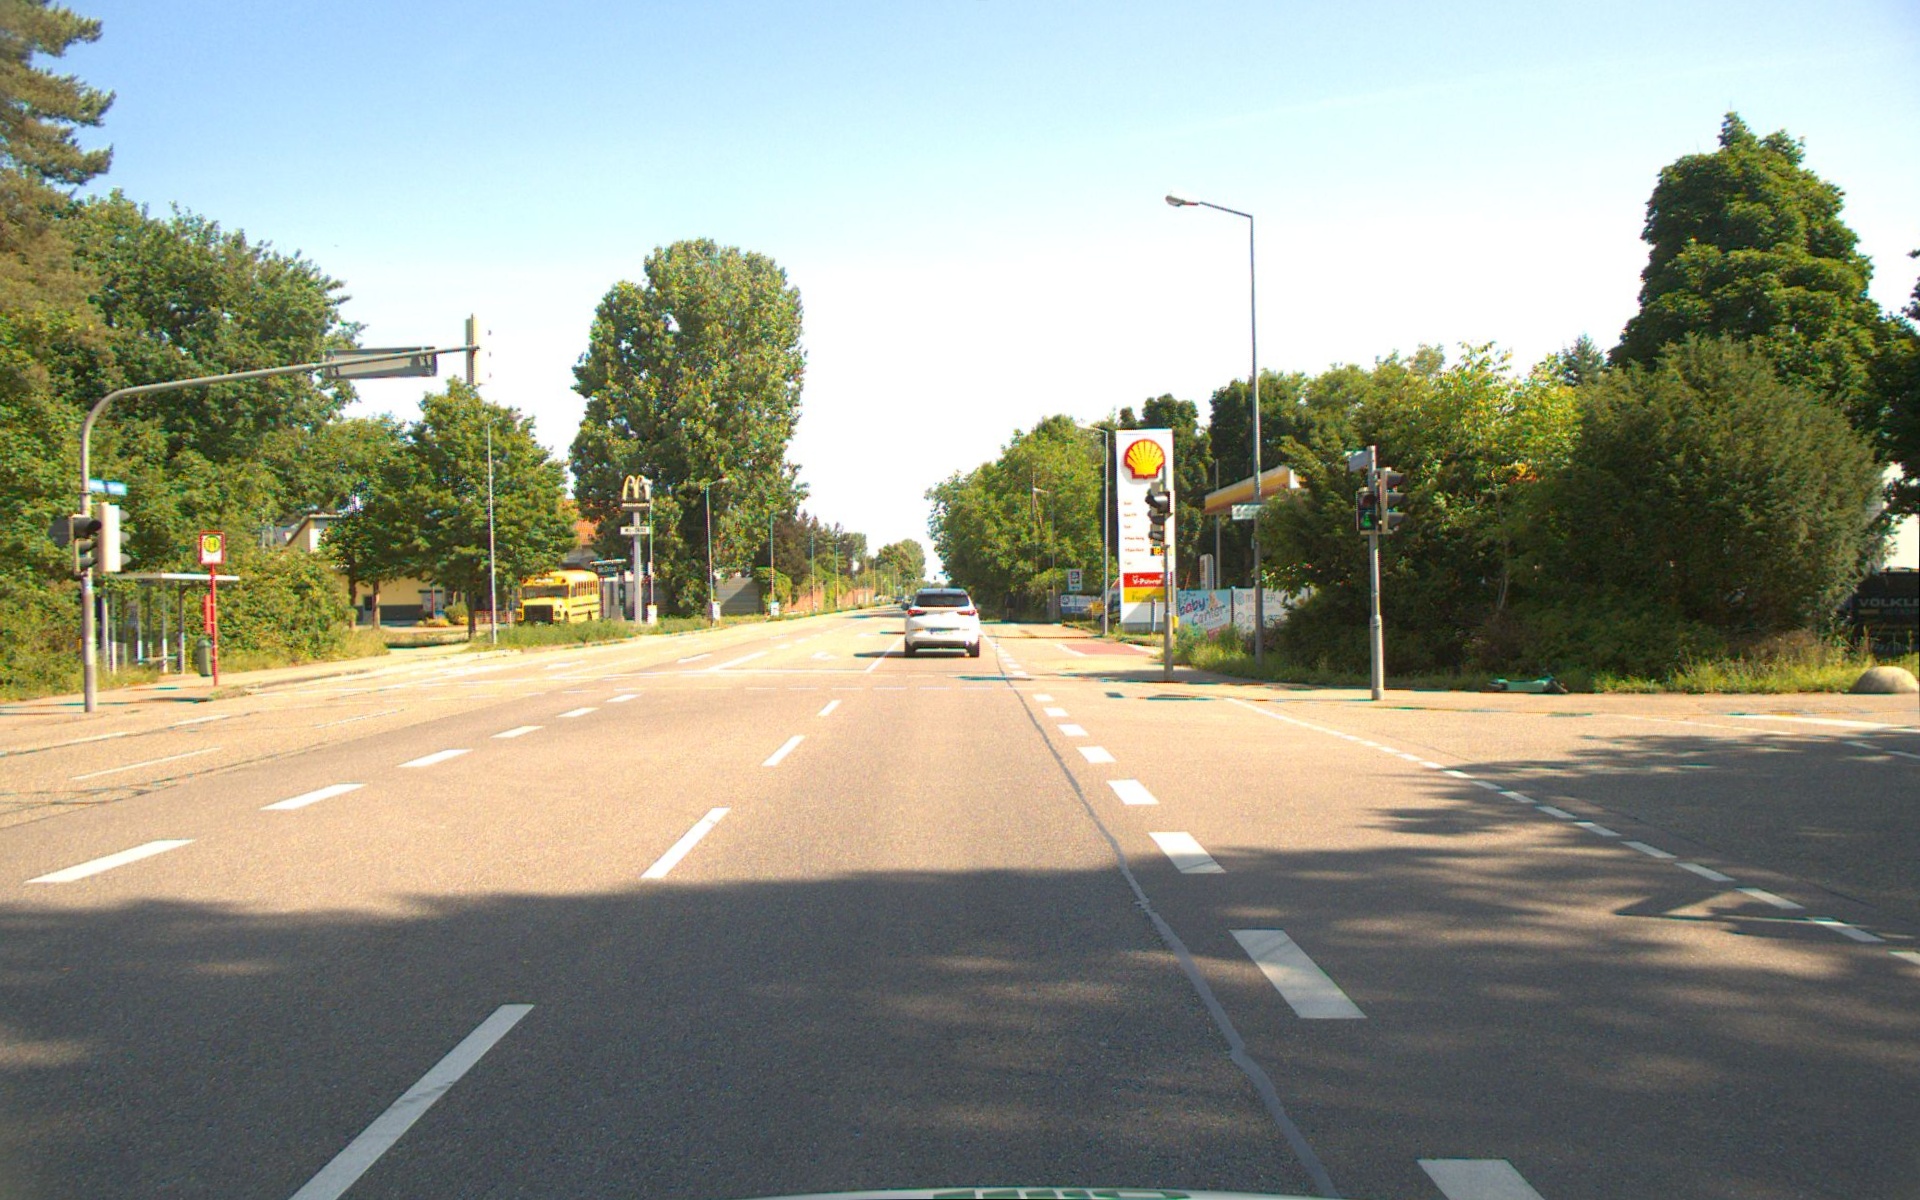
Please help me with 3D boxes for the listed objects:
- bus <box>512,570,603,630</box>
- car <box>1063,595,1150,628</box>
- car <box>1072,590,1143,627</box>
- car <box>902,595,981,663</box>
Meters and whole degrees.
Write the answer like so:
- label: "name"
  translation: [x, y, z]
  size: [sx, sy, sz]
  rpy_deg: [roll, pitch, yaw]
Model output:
- label: "bus"
  translation: [-19.316, 0.035, 79.884]
  size: [2.527, 2.726, 8.992]
  rpy_deg: [1, 0, -2]
- label: "car"
  translation: [6.981, 0.557, 79.197]
  size: [3.912, 1.557, 1.583]
  rpy_deg: [1, 0, -8]
- label: "car"
  translation: [6.359, 0.367, 71.234]
  size: [2.684, 1.557, 1.567]
  rpy_deg: [-1, -2, 44]
- label: "car"
  translation: [-0.440, 0.681, 40.566]
  size: [1.809, 1.568, 4.224]
  rpy_deg: [1, 0, 0]
